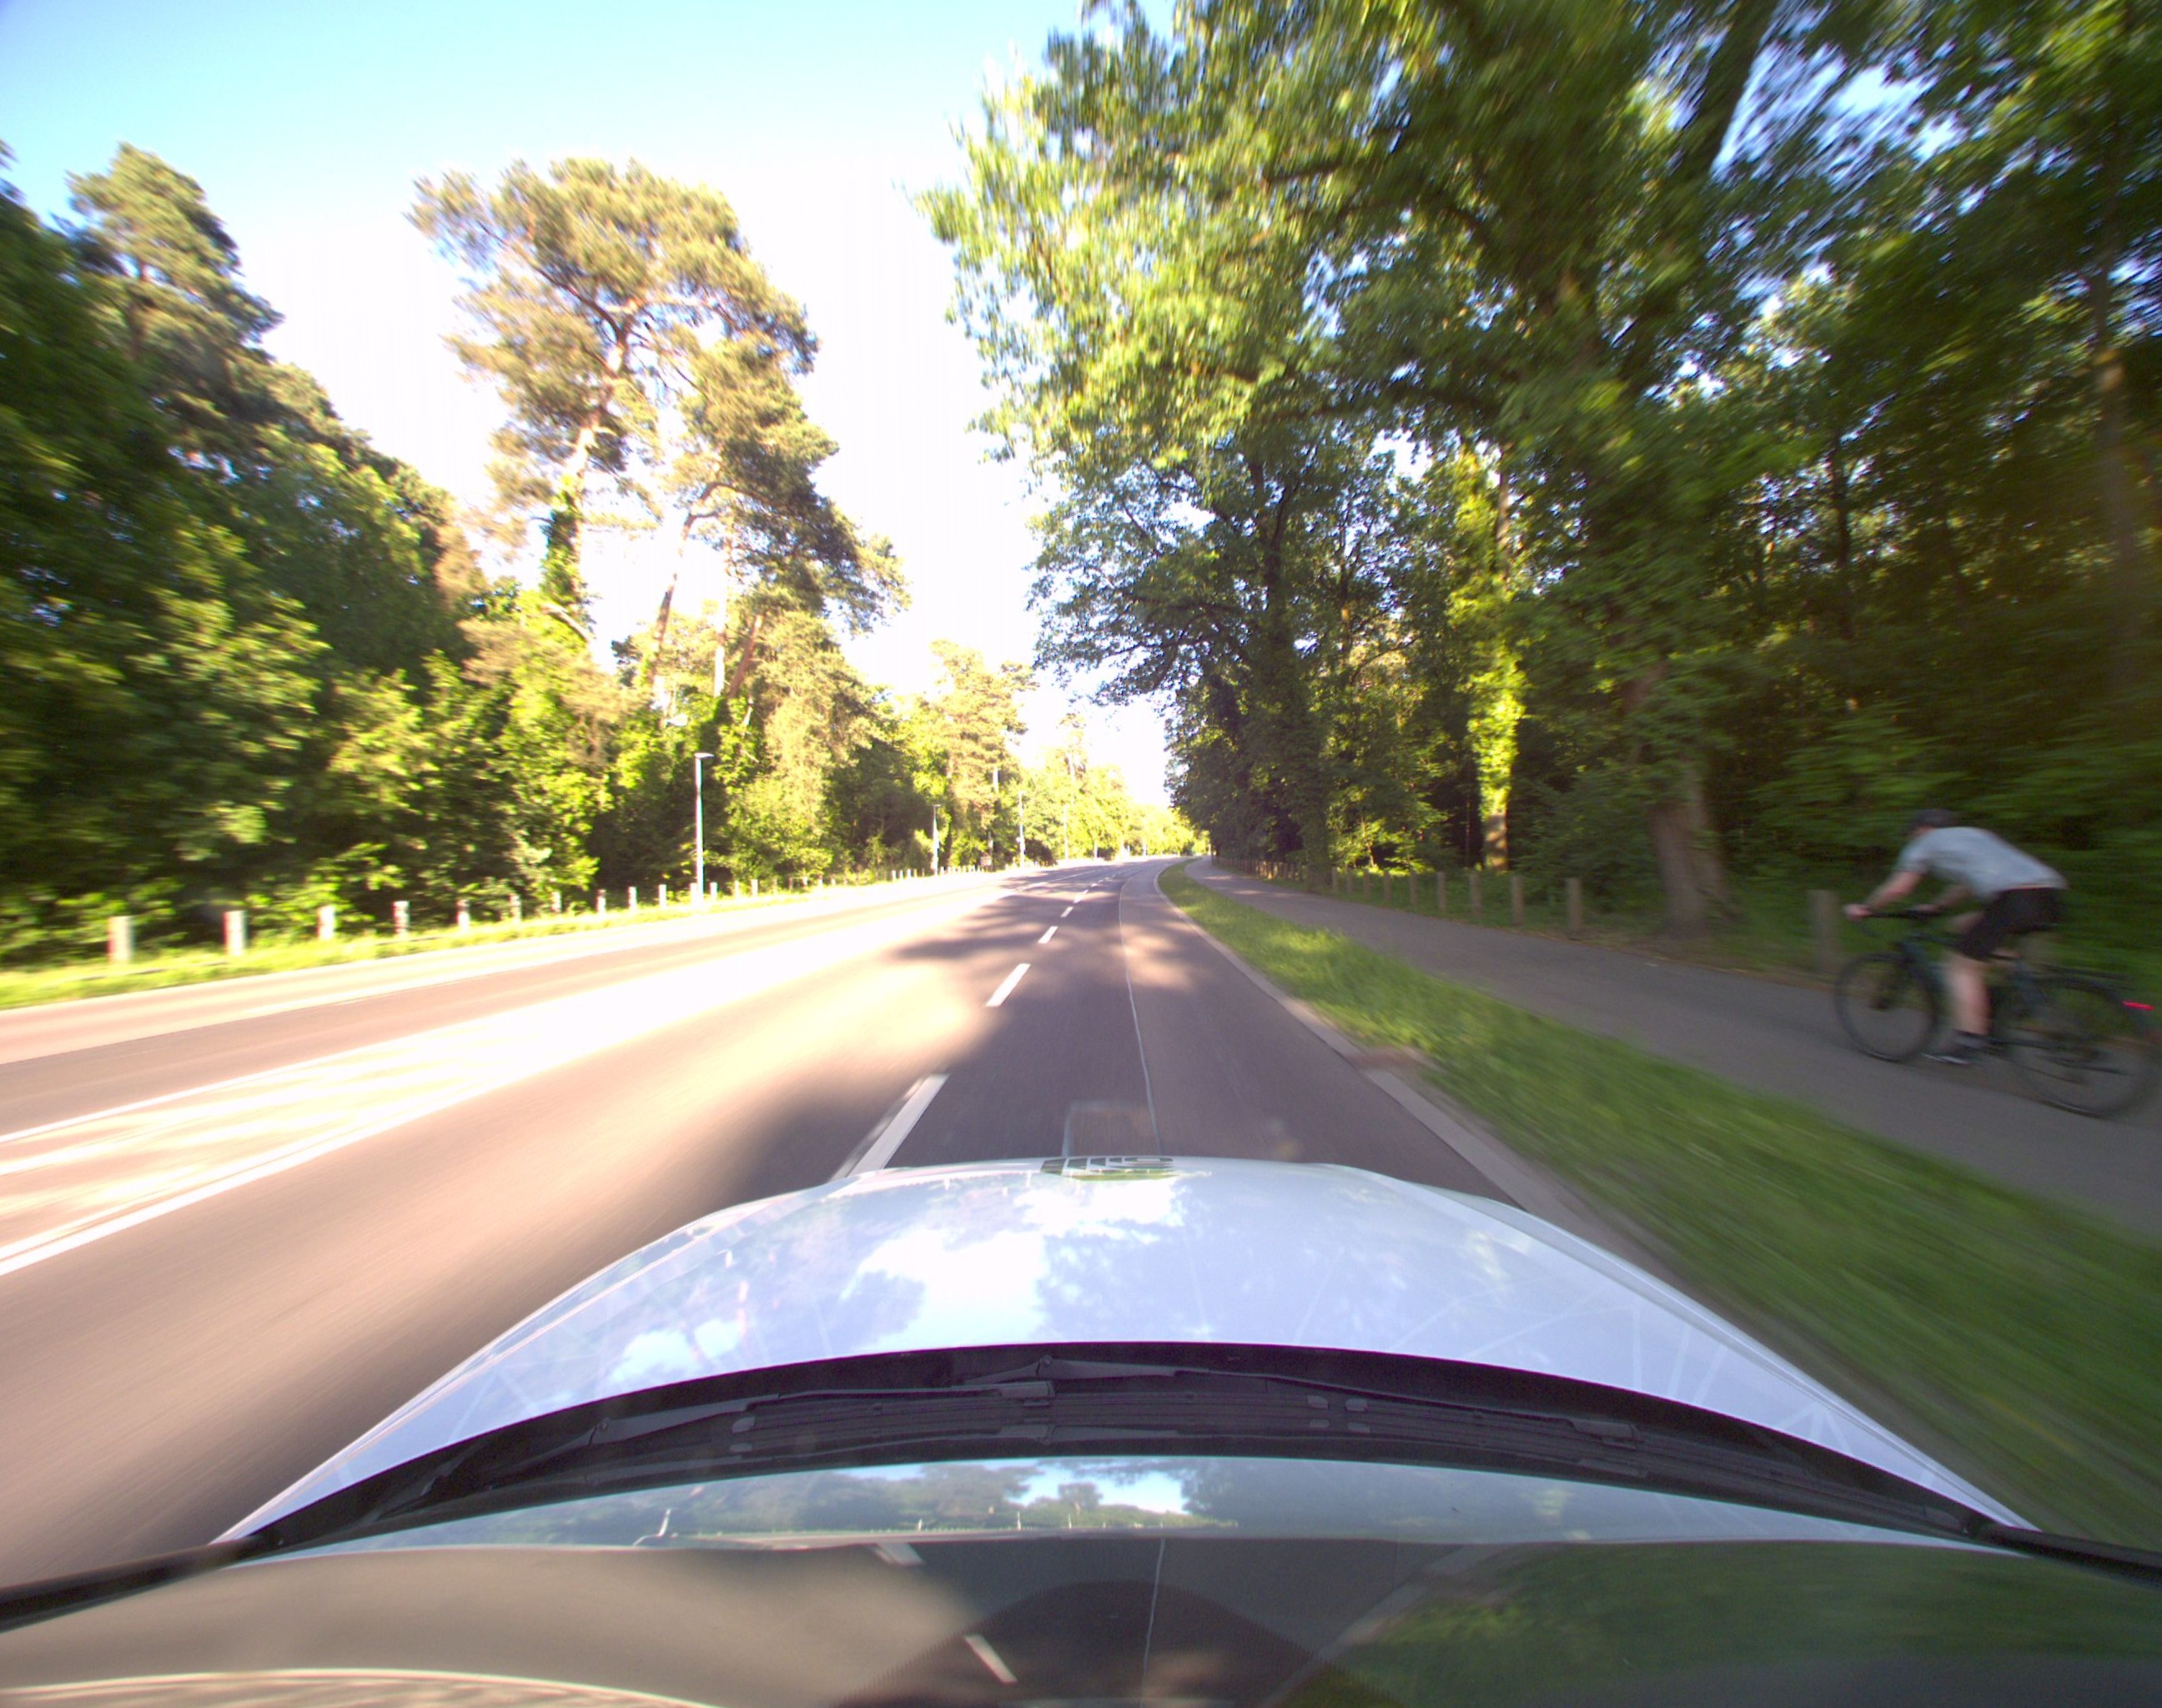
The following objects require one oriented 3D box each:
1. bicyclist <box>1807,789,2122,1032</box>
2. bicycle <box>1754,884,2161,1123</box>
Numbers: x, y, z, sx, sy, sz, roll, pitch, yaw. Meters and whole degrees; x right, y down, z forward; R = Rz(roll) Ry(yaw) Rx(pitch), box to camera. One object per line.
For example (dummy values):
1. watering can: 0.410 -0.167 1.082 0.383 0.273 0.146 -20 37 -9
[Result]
1. bicyclist: 5.240 0.304 4.931 0.709 1.288 1.105 -1 0 2
2. bicycle: 5.245 0.753 4.922 0.709 1.056 2.054 -1 0 2
